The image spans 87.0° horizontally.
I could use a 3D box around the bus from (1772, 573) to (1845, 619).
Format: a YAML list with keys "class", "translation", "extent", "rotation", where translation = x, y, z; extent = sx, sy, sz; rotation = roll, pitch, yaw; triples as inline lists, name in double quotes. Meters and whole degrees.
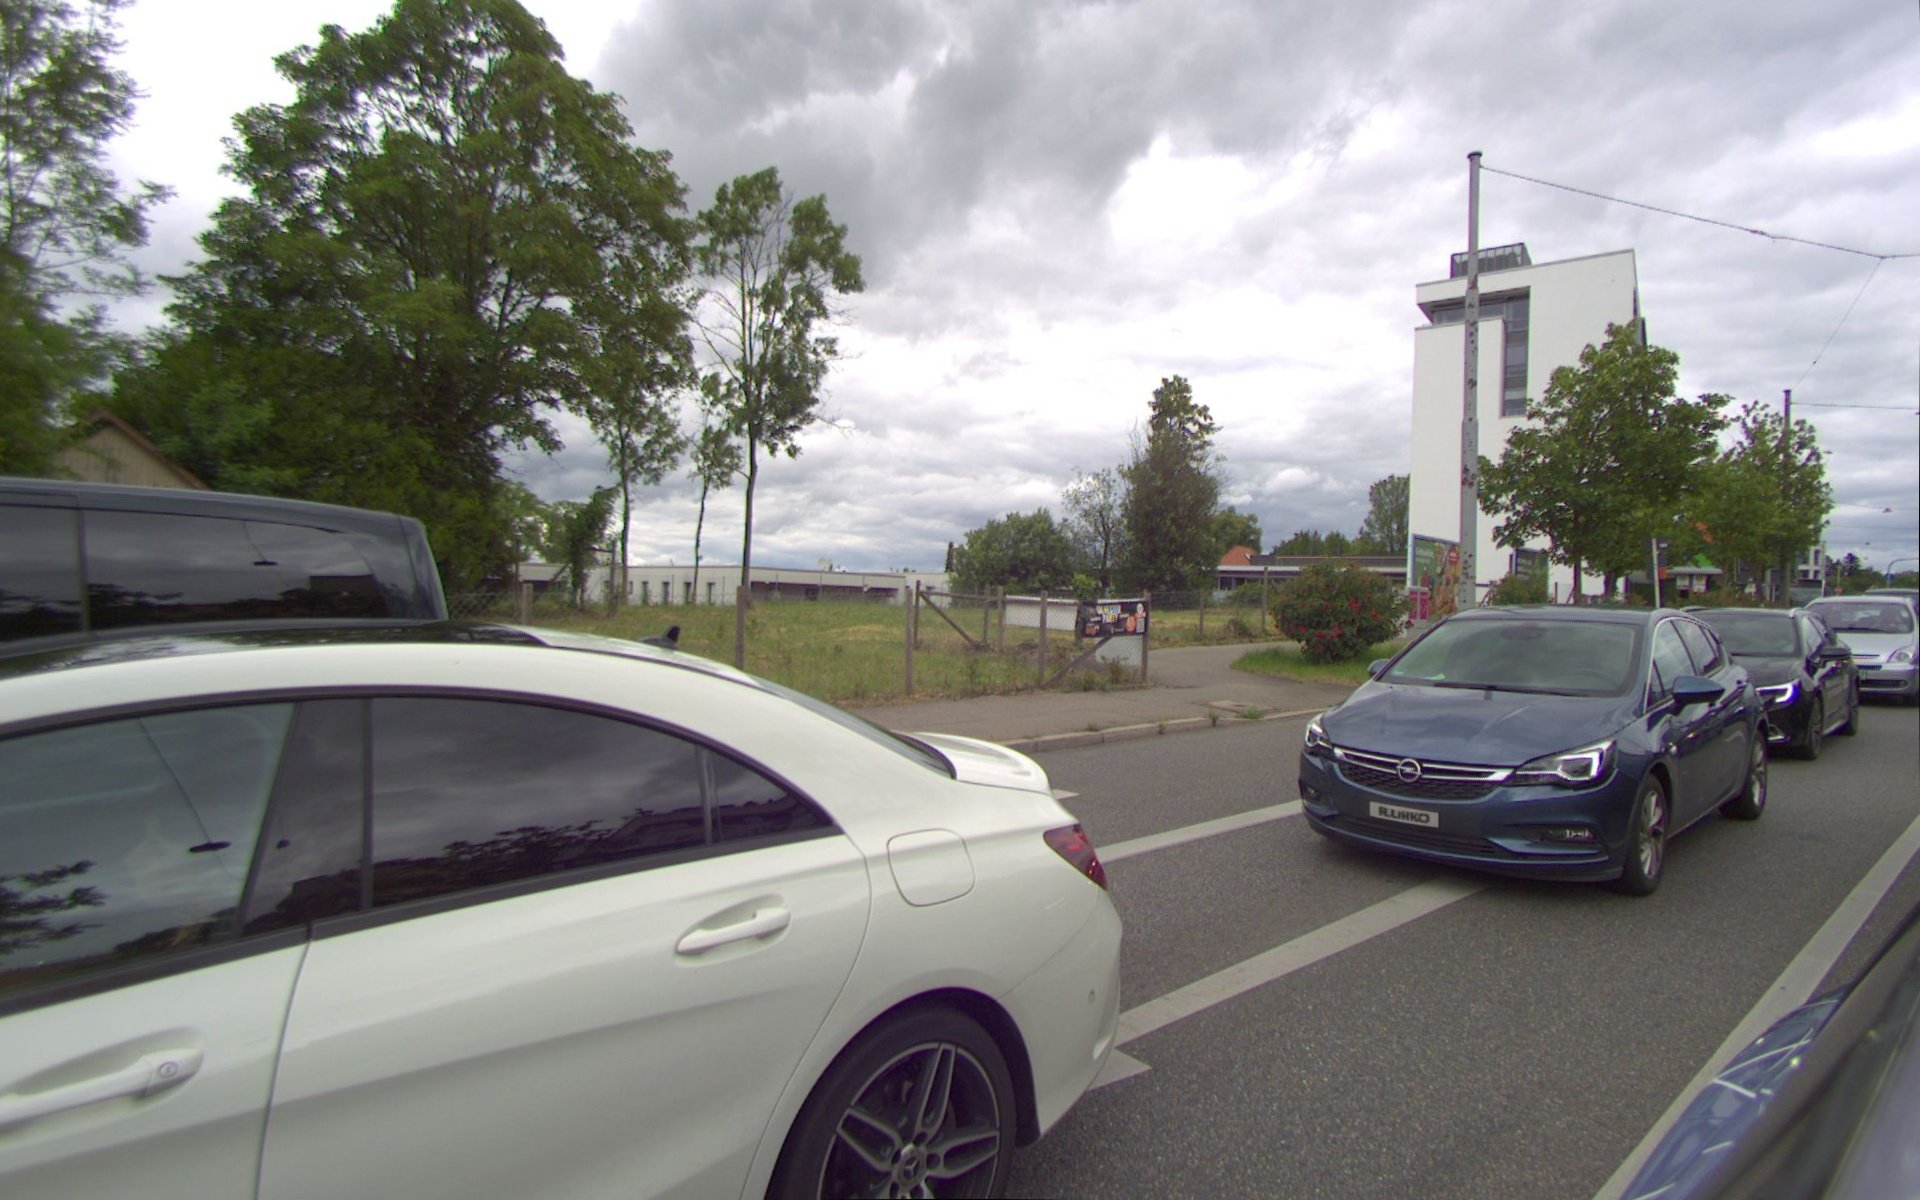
- class: "bus"
  translation: [53.945, -0.317, 64.585]
  extent: [2.952, 2.664, 11.986]
  rotation: [0, 1, 37]

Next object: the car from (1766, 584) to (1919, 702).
- class: "car"
  translation: [14.225, 0.596, 15.872]
  extent: [3.717, 1.637, 1.849]
  rotation: [0, -1, -41]

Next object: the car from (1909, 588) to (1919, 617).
- class: "car"
  translation: [59.605, 0.121, 61.926]
  extent: [1.991, 1.705, 3.941]
  rotation: [-2, -1, 41]

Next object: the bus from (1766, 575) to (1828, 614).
- class: "bus"
  translation: [61.410, -0.452, 74.486]
  extent: [2.952, 2.664, 12.751]
  rotation: [0, 1, 37]

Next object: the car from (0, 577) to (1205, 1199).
- class: "car"
  translation: [-1.541, 0.697, 1.821]
  extent: [4.300, 1.451, 1.652]
  rotation: [0, 1, -41]

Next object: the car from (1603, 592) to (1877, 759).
- class: "car"
  translation: [8.459, 0.663, 10.865]
  extent: [3.854, 1.475, 1.663]
  rotation: [0, 0, -42]

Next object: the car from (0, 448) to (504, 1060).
- class: "car"
  translation: [-4.196, 0.476, 3.276]
  extent: [4.627, 1.863, 1.952]
  rotation: [0, -1, -41]

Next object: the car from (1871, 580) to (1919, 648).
- class: "car"
  translation: [28.404, 0.394, 29.964]
  extent: [4.068, 1.910, 1.848]
  rotation: [0, -1, -44]

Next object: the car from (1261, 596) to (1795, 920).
- class: "car"
  translation: [3.806, 0.692, 6.488]
  extent: [3.931, 1.428, 1.825]
  rotation: [0, 0, -42]
